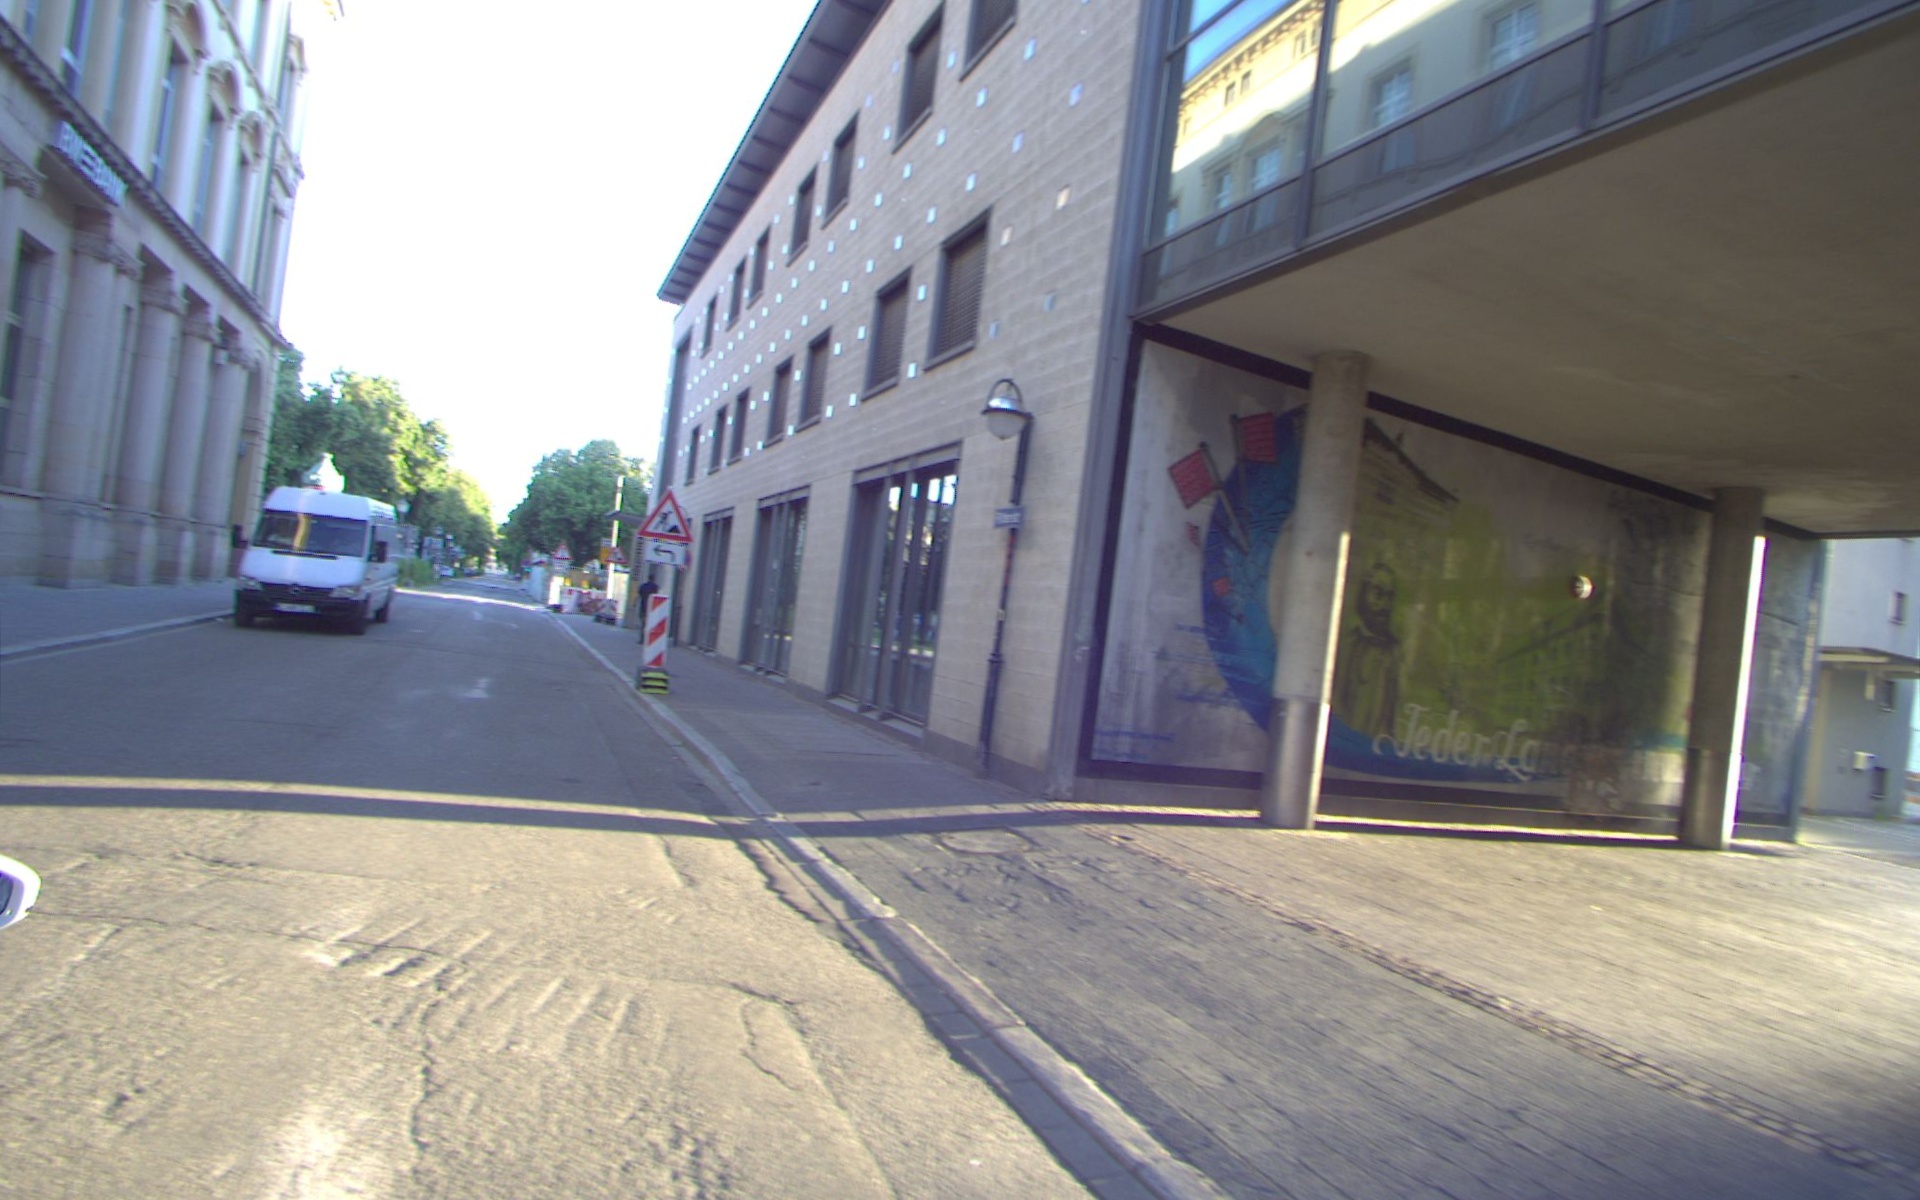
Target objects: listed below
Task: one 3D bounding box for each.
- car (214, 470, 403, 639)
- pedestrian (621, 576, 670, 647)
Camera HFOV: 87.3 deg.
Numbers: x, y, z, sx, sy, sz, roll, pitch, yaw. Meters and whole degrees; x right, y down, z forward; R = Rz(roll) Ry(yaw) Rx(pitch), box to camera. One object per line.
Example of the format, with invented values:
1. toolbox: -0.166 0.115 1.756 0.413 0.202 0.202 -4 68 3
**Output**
1. car: -12.146 -0.798 19.234 1.975 2.544 6.432 4 0 -25
2. pedestrian: -8.130 0.293 26.005 0.914 1.723 0.863 7 0 -26
